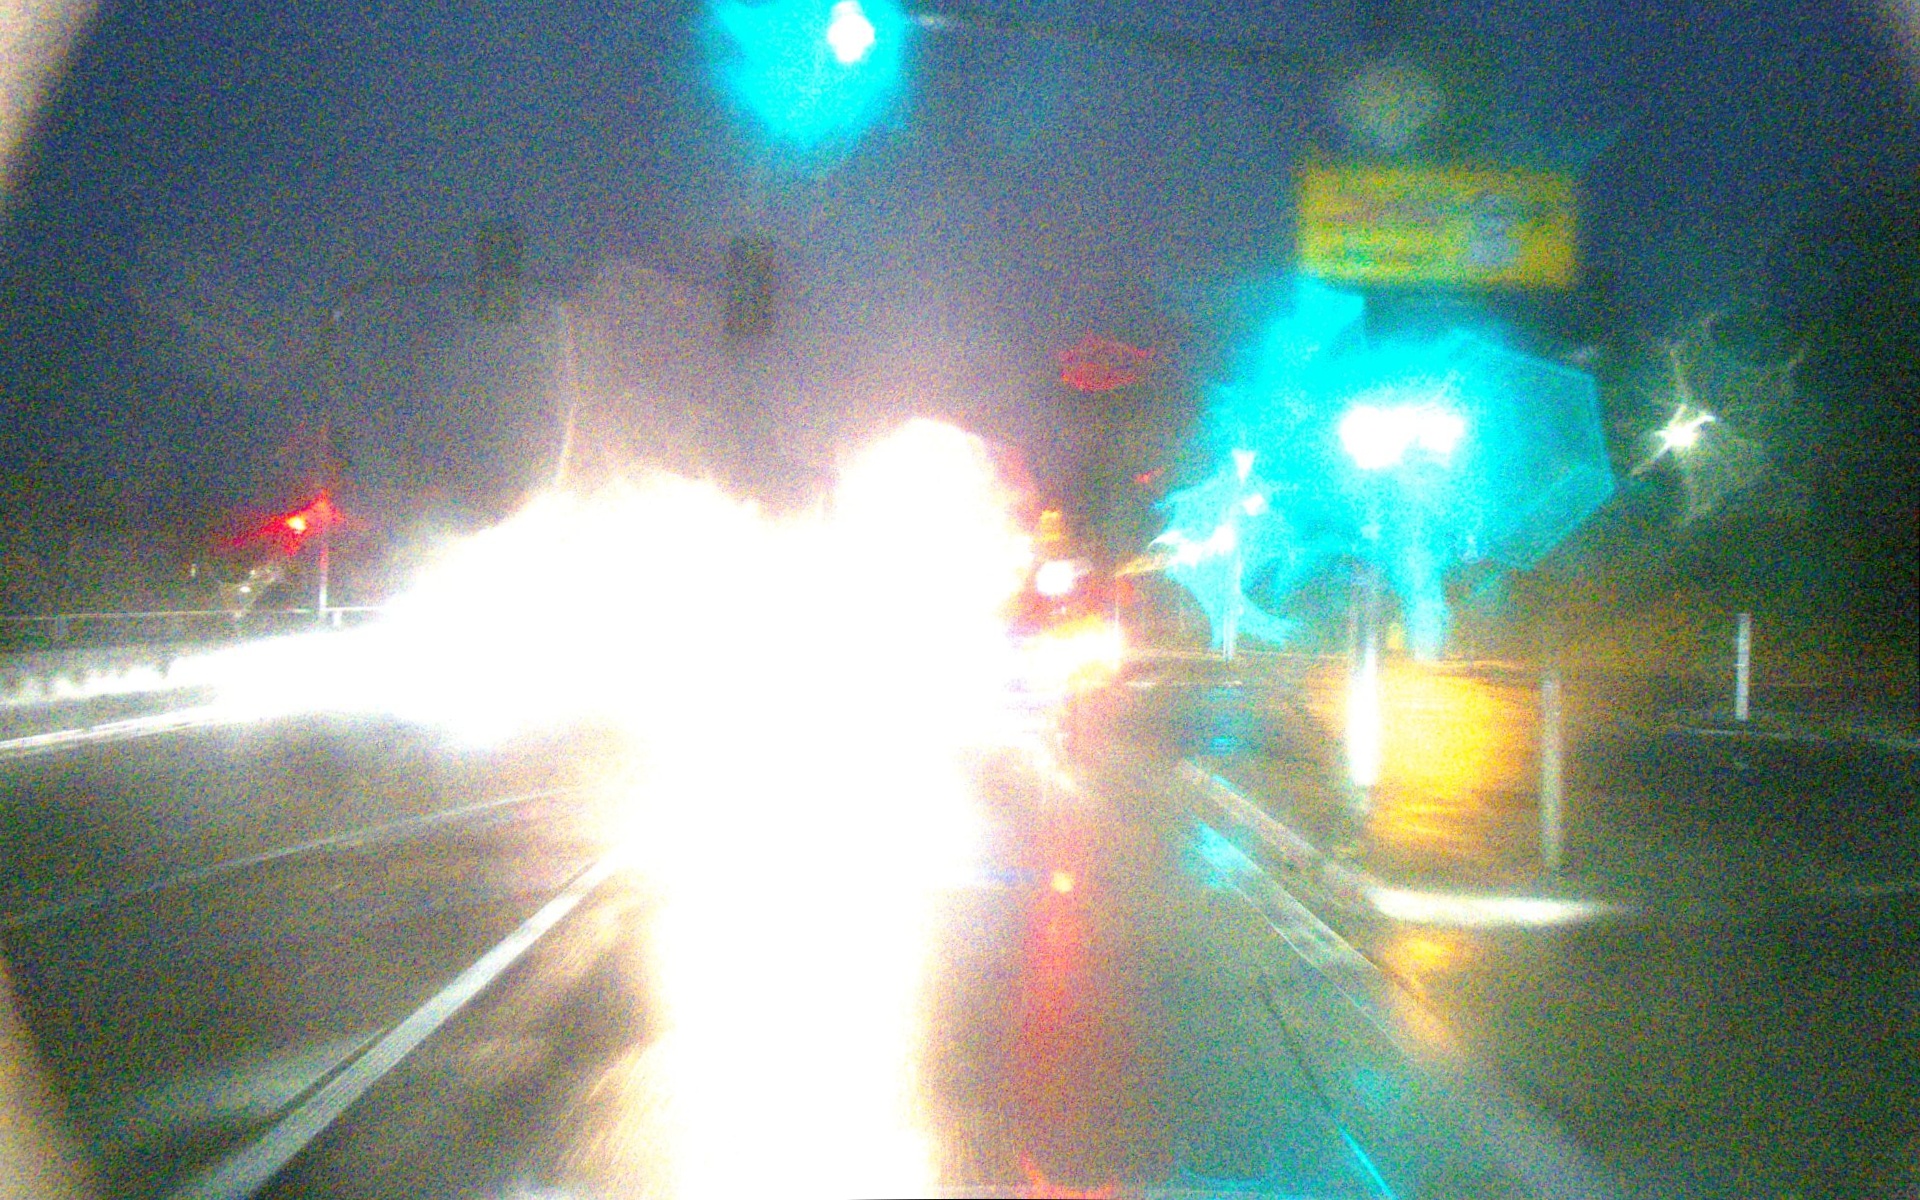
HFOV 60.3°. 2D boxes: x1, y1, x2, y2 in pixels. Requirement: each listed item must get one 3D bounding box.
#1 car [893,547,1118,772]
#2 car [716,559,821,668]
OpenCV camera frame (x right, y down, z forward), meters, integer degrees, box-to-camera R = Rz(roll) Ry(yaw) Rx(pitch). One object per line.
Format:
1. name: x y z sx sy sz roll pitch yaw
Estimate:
1. car: 0.277 0.458 14.849 1.740 1.742 3.998 0 0 -2
2. car: -3.830 0.324 33.442 1.955 2.049 3.995 -1 -2 -5
